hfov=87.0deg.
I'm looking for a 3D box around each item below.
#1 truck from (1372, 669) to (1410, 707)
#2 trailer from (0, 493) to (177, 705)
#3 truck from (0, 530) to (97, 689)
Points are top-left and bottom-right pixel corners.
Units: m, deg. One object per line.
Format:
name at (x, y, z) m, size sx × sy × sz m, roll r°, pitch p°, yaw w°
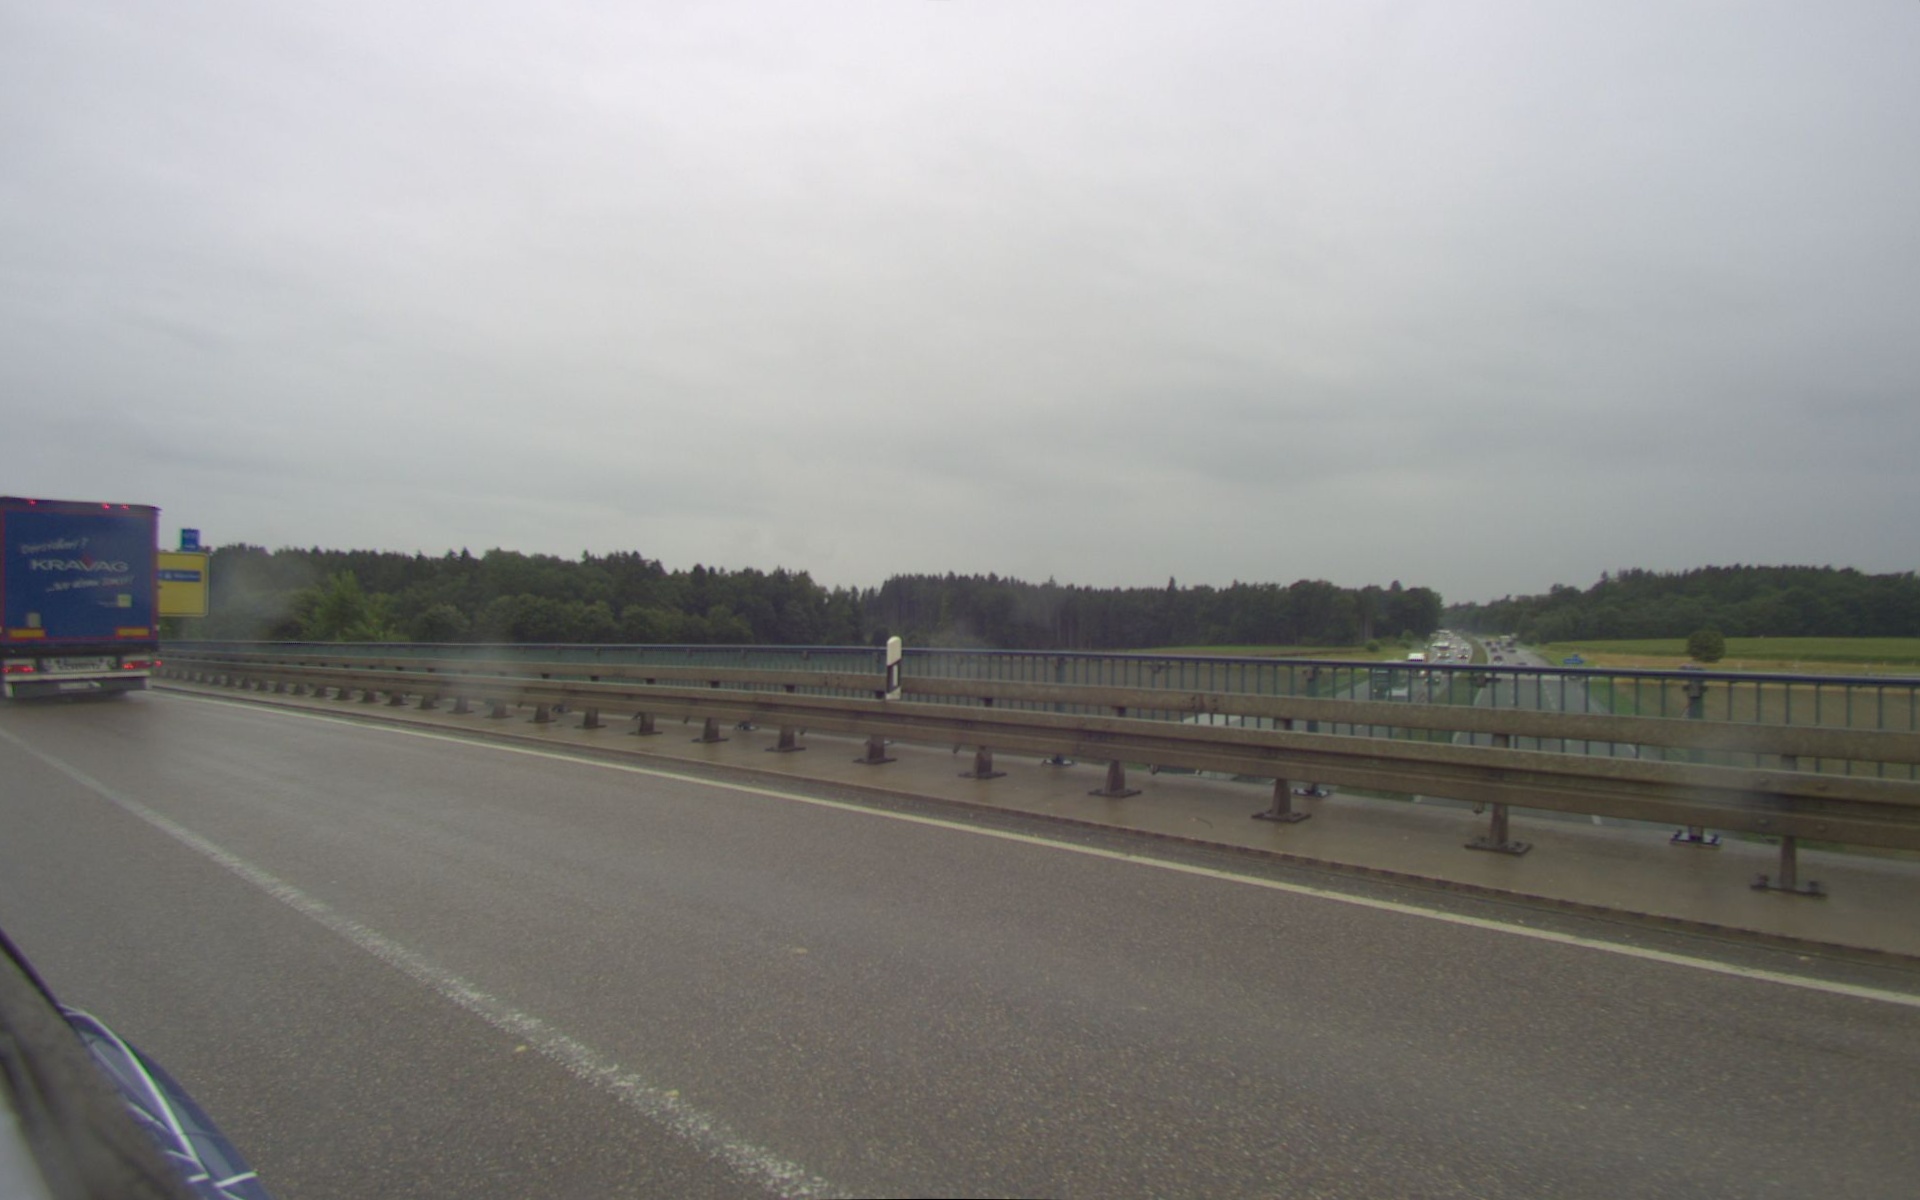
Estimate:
truck at (52.891, 10.729, 124.051) m, size 2.234 × 3.727 × 9.739 m, roll -3°, pitch 0°, yaw 34°
trailer at (-22.479, 0.192, 24.640) m, size 13.728 × 4.000 × 2.788 m, roll -2°, pitch -2°, yaw 41°
truck at (-27.119, 0.364, 28.683) m, size 8.758 × 4.000 × 2.788 m, roll -2°, pitch -2°, yaw 41°
